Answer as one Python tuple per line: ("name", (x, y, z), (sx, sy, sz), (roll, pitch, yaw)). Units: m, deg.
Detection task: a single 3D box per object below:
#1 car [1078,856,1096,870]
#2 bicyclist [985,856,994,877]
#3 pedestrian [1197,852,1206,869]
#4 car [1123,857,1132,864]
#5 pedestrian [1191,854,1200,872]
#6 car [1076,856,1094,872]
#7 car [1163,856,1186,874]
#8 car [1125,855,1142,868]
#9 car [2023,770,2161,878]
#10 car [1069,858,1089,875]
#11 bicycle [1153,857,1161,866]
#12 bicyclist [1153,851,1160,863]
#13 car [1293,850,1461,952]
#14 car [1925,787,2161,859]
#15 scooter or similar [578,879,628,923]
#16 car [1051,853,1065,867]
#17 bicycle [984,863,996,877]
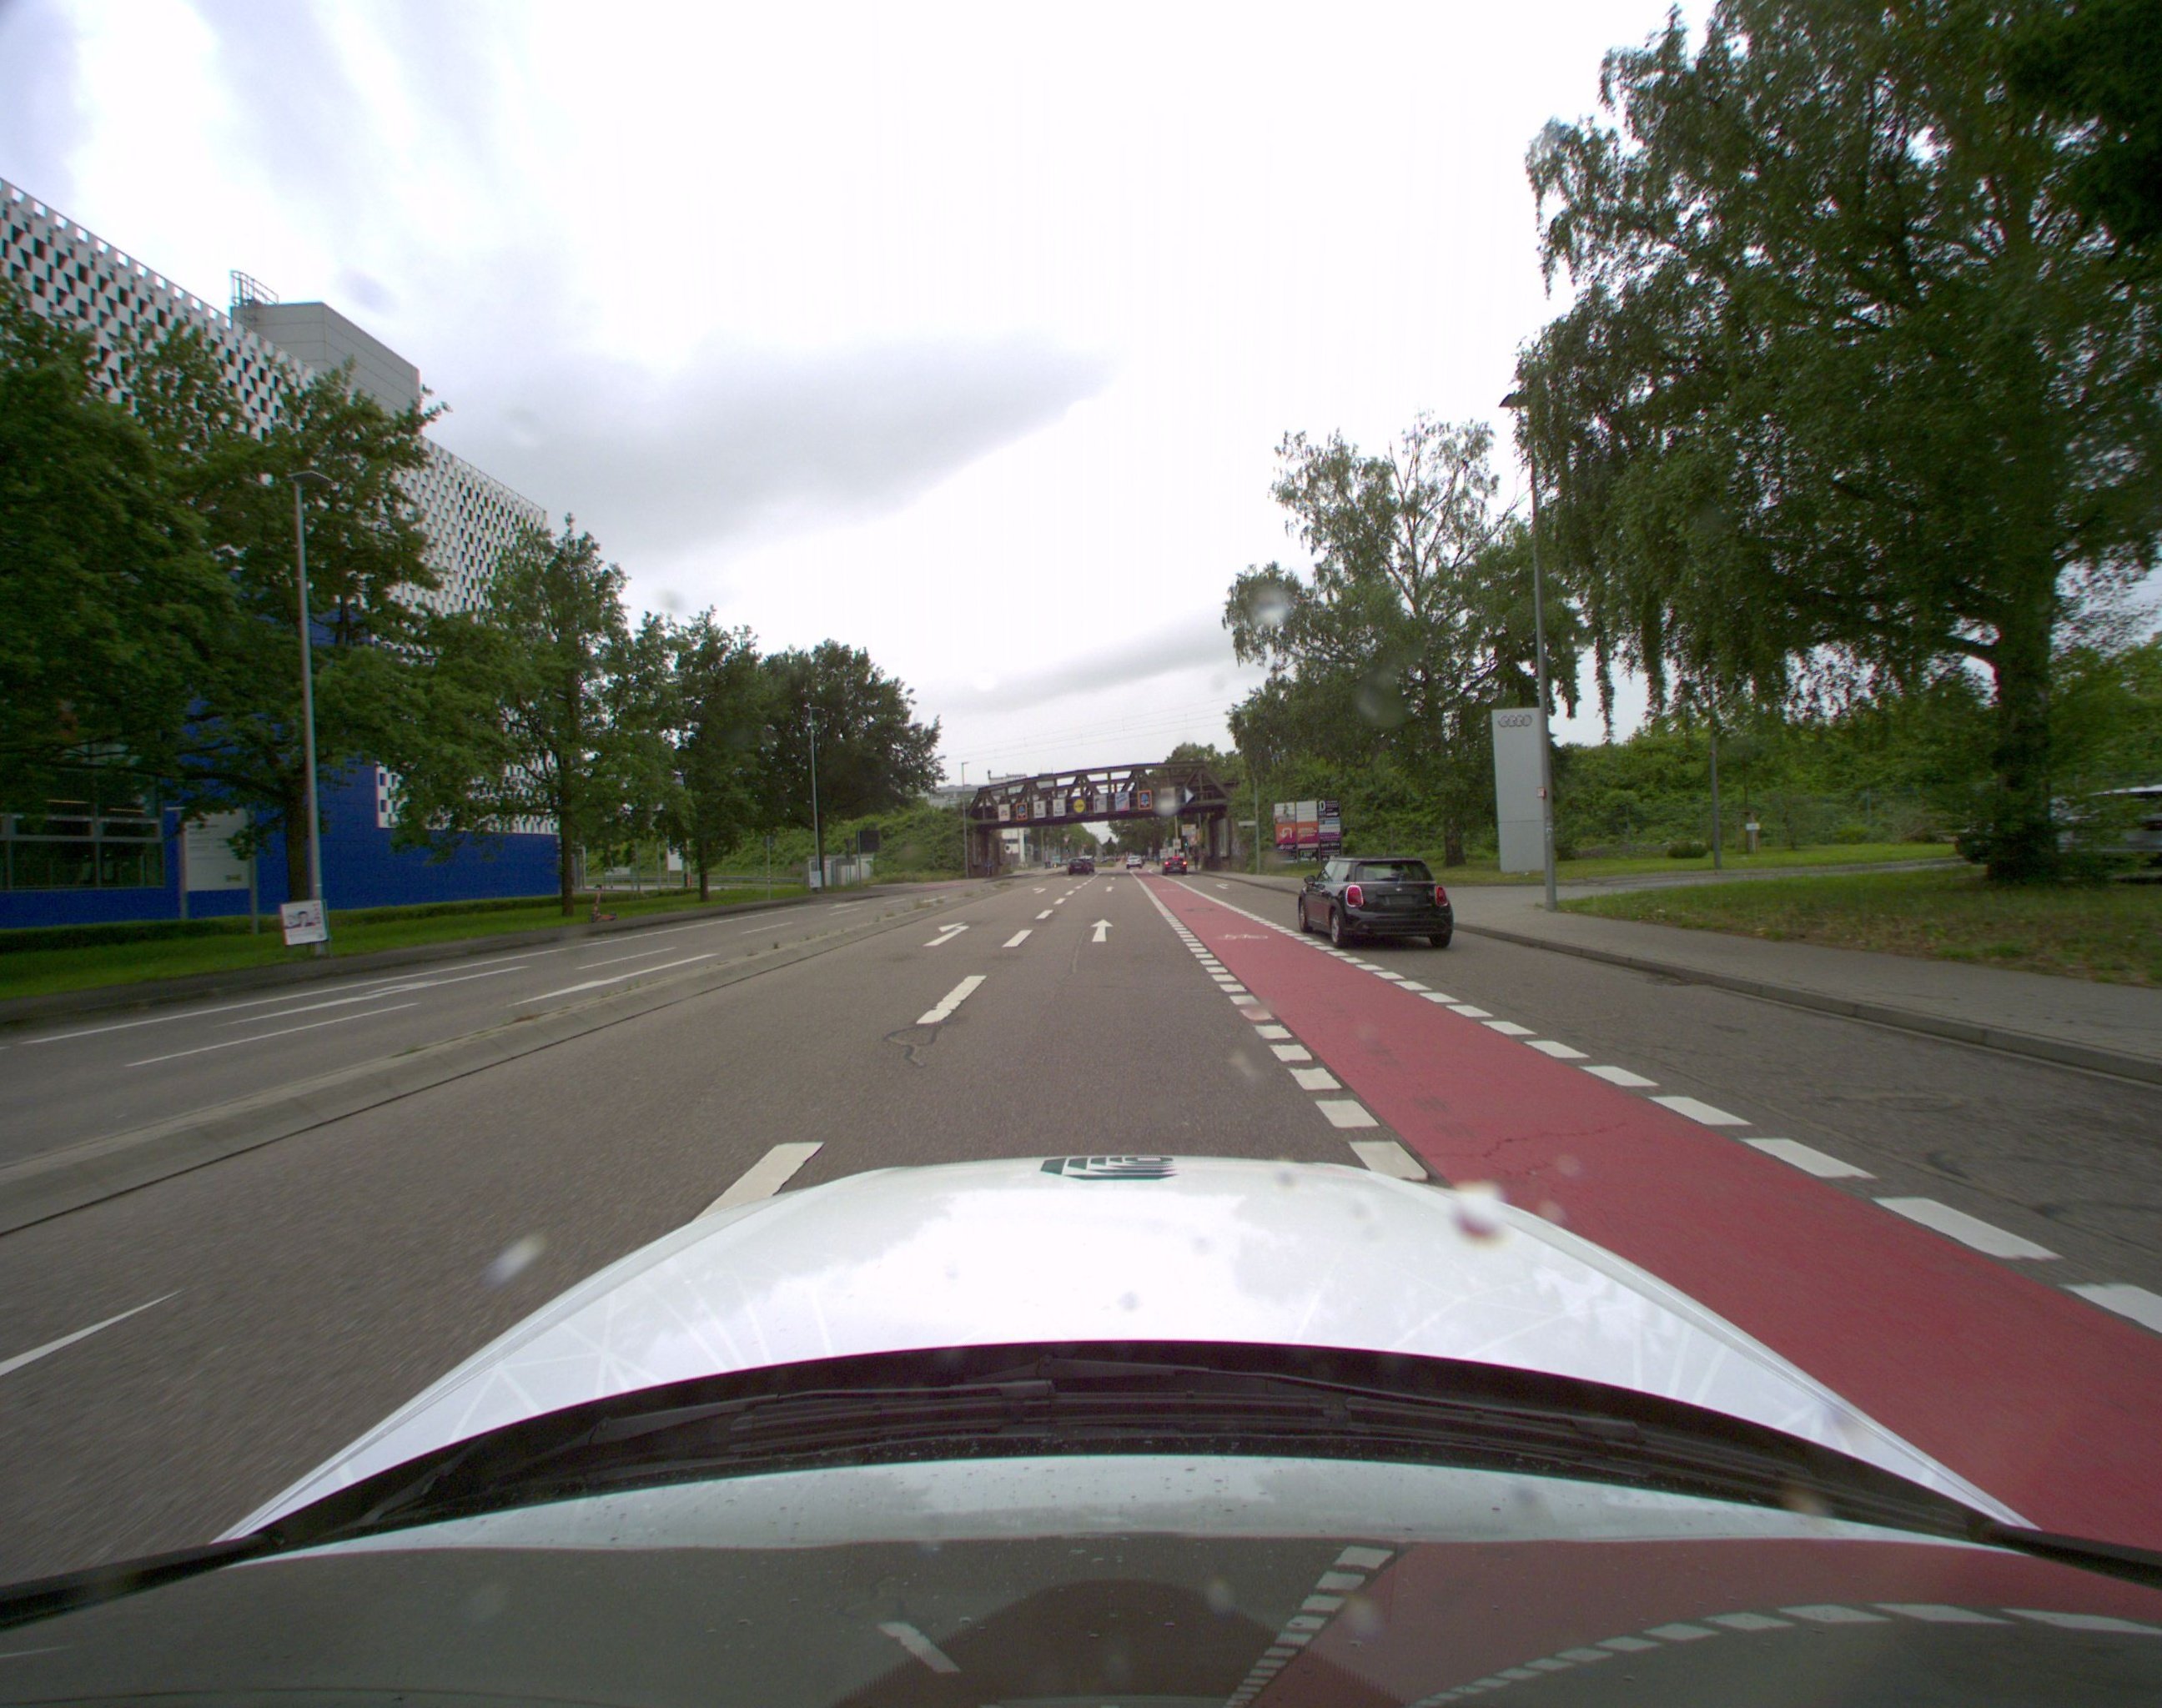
("car", (0.705, 1.046, 96.167), (1.956, 1.528, 5.008), (-1, 0, -1))
("bicyclist", (-8.273, 1.173, 73.773), (0.699, 1.874, 1.020), (-1, -1, 2))
("pedestrian", (12.782, 0.710, 86.601), (0.866, 1.759, 0.789), (-2, -1, 8))
("car", (10.558, 1.384, 186.971), (1.790, 1.513, 3.704), (-1, 0, -1))
("pedestrian", (10.912, 0.872, 77.377), (0.737, 1.640, 0.780), (-2, -1, 9))
("car", (0.383, 1.011, 83.780), (1.767, 1.652, 3.668), (-1, 0, -1))
("car", (7.185, 0.831, 62.904), (1.639, 1.281, 3.424), (-1, 0, 5))
("car", (6.470, 0.948, 101.366), (1.818, 1.600, 3.774), (-1, 0, -1))
("car", (17.054, -0.484, 12.110), (4.288, 1.489, 1.738), (-2, 0, -4))
("car", (-0.183, 1.114, 74.399), (1.763, 1.528, 3.668), (-1, 0, -1))
("bicycle", (10.528, 1.005, 112.904), (0.813, 1.212, 2.684), (-3, -1, 2))
("bicyclist", (10.497, 0.459, 112.908), (0.813, 1.630, 1.235), (-3, -1, 2))
("car", (4.733, 0.667, 13.571), (1.671, 1.431, 3.778), (-1, 0, 4))
("car", (25.487, -0.780, 21.595), (4.289, 1.589, 1.966), (-3, -1, -4))
("scooter or similar", (-15.509, 1.516, 26.467), (0.444, 1.321, 1.510), (-3, 0, 12))
("car", (-5.213, 1.343, 183.871), (2.317, 2.826, 5.958), (-3, -1, 5))
("bicycle", (-8.271, 1.438, 73.796), (0.710, 1.187, 2.372), (-1, -1, 3))
